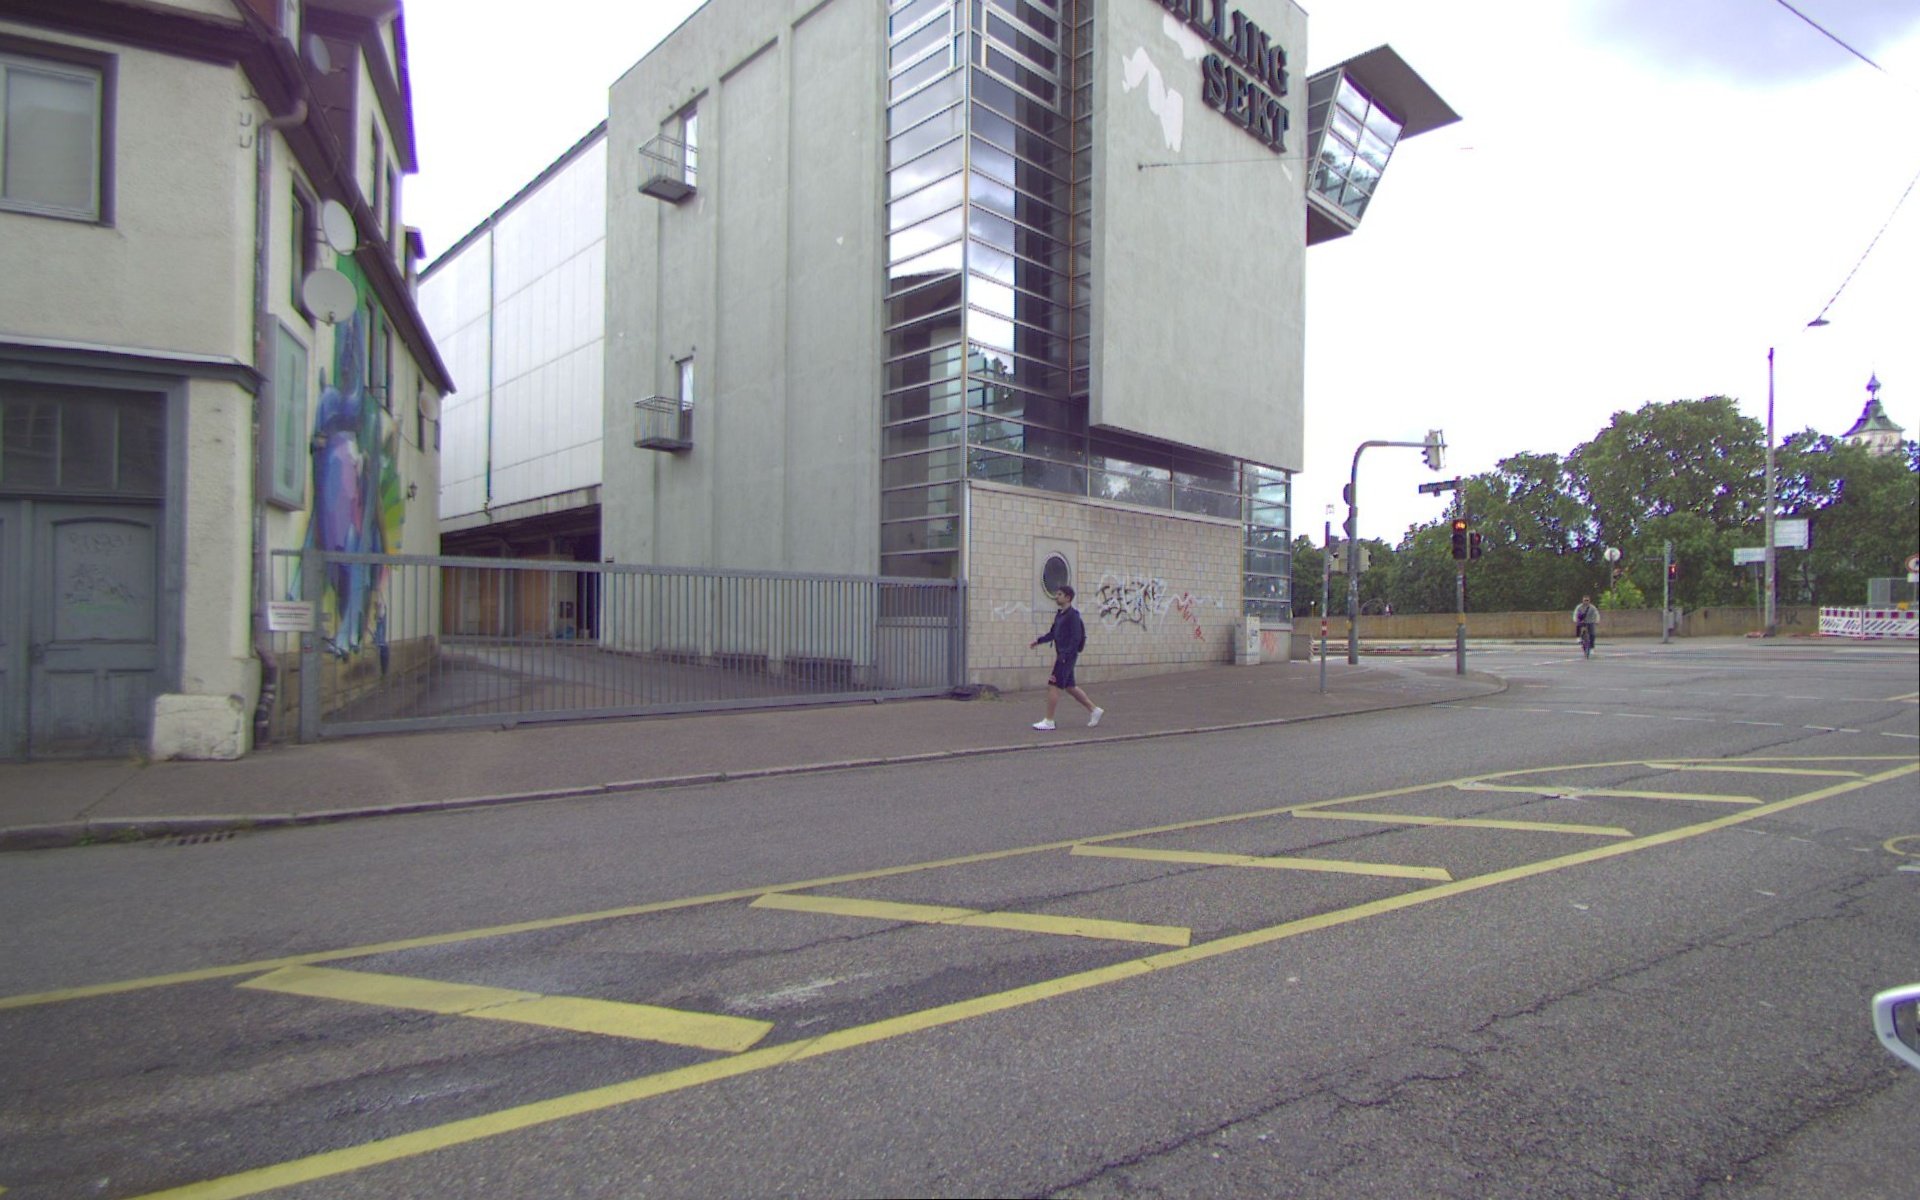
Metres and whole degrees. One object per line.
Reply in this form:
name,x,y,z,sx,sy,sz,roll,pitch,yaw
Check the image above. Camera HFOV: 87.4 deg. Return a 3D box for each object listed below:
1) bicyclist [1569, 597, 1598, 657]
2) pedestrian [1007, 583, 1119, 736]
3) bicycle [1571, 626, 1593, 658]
bicyclist,18.241,0.785,29.395,0.713,1.723,0.809,0,-1,32
pedestrian,1.340,0.730,13.226,1.077,1.911,1.050,-1,1,-27
bicycle,18.303,1.228,29.524,0.533,0.904,1.875,0,-1,32
